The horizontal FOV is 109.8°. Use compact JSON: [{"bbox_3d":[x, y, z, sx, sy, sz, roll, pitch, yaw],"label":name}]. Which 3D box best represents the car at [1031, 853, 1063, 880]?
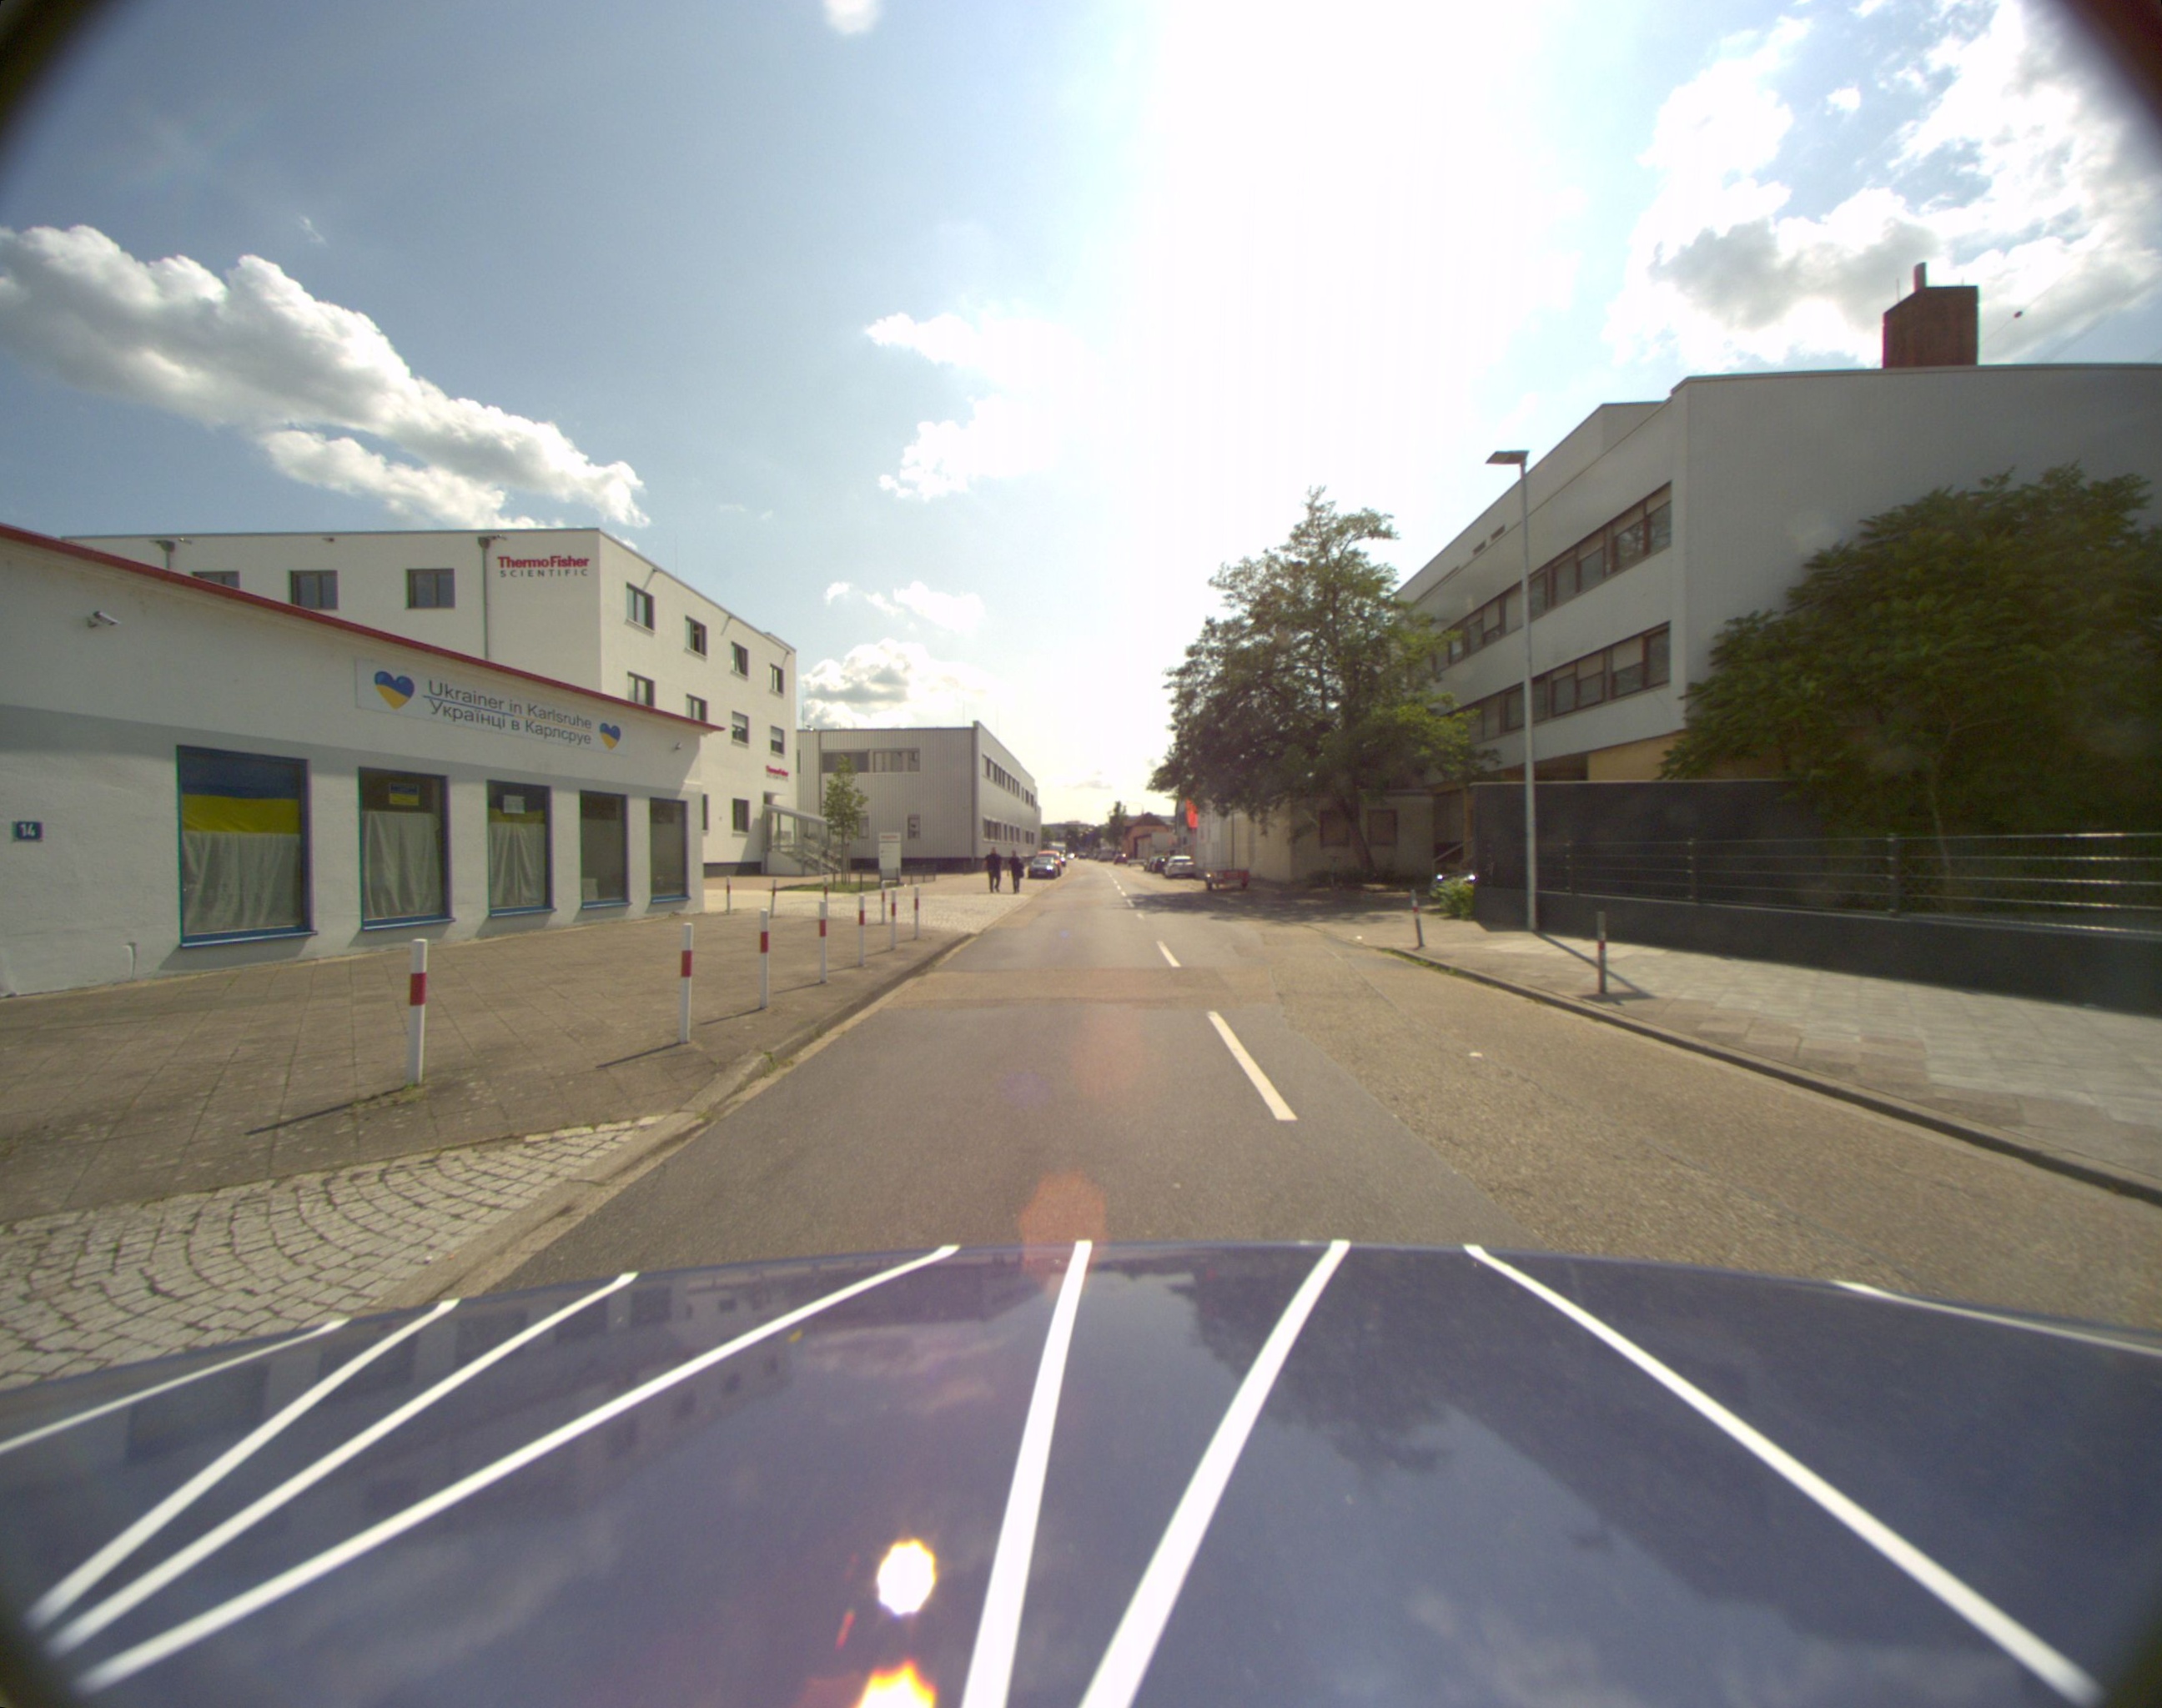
[{"bbox_3d":[-2.166,0.794,49.721,1.663,1.549,4.178,-3,1,2],"label":"car"}]

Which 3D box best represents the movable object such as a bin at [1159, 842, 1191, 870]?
[{"bbox_3d":[6.962,0.122,56.773,1.618,1.908,5.138,-4,0,0],"label":"movable object such as a bin"}]

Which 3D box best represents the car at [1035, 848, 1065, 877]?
[{"bbox_3d":[-2.243,0.578,55.760,1.877,1.881,4.451,-5,1,-1],"label":"car"}]

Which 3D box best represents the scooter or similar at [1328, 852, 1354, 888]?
[{"bbox_3d":[9.662,0.579,28.262,0.483,1.272,1.360,-3,1,1],"label":"scooter or similar"}]

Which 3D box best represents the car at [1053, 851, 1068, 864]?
[{"bbox_3d":[-2.610,0.418,96.583,1.715,1.502,4.114,-3,1,-1],"label":"car"}]

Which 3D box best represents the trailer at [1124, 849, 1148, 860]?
[{"bbox_3d":[6.650,-0.018,92.876,2.457,1.157,6.052,-2,1,0],"label":"trailer"}]

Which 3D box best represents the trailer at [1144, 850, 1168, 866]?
[{"bbox_3d":[7.241,0.338,74.084,1.772,1.368,5.050,-2,1,-1],"label":"trailer"}]

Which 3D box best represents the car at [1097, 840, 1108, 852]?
[{"bbox_3d":[4.864,-1.821,170.230,1.999,2.556,5.822,-3,1,-1],"label":"car"}]

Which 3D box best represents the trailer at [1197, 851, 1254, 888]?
[{"bbox_3d":[6.460,0.660,34.430,1.771,1.431,4.335,-3,1,1],"label":"trailer"}]

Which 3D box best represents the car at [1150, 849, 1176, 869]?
[{"bbox_3d":[6.818,0.386,63.244,1.677,1.447,4.223,-2,1,0],"label":"car"}]

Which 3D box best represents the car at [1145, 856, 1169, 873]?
[{"bbox_3d":[6.800,0.921,68.378,1.677,1.368,3.883,-2,1,-1],"label":"car"}]

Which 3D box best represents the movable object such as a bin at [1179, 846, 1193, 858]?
[{"bbox_3d":[11.785,-0.222,85.103,1.319,1.419,1.151,0,1,-4],"label":"movable object such as a bin"}]

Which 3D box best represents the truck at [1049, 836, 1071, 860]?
[{"bbox_3d":[-3.145,-0.853,110.965,2.608,3.207,8.073,-3,1,-4],"label":"truck"}]

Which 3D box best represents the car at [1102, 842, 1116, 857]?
[{"bbox_3d":[5.282,-0.866,143.147,2.079,2.527,5.822,-3,1,-1],"label":"car"}]

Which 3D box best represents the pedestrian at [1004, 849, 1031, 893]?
[{"bbox_3d":[-2.650,0.696,31.551,0.860,1.797,1.003,0,1,-21],"label":"pedestrian"}]

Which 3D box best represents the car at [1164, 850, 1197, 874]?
[{"bbox_3d":[6.538,0.495,50.414,1.677,1.447,4.513,-2,1,1],"label":"car"}]

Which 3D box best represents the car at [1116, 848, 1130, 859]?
[{"bbox_3d":[6.147,-0.059,111.615,1.714,1.459,4.628,-3,1,0],"label":"car"}]

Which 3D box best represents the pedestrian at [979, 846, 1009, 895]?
[{"bbox_3d":[-3.577,0.654,31.233,0.994,1.940,1.089,0,1,-21],"label":"pedestrian"}]

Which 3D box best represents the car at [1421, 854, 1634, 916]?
[{"bbox_3d":[10.535,0.715,18.180,4.001,1.354,1.794,0,1,4],"label":"car"}]
